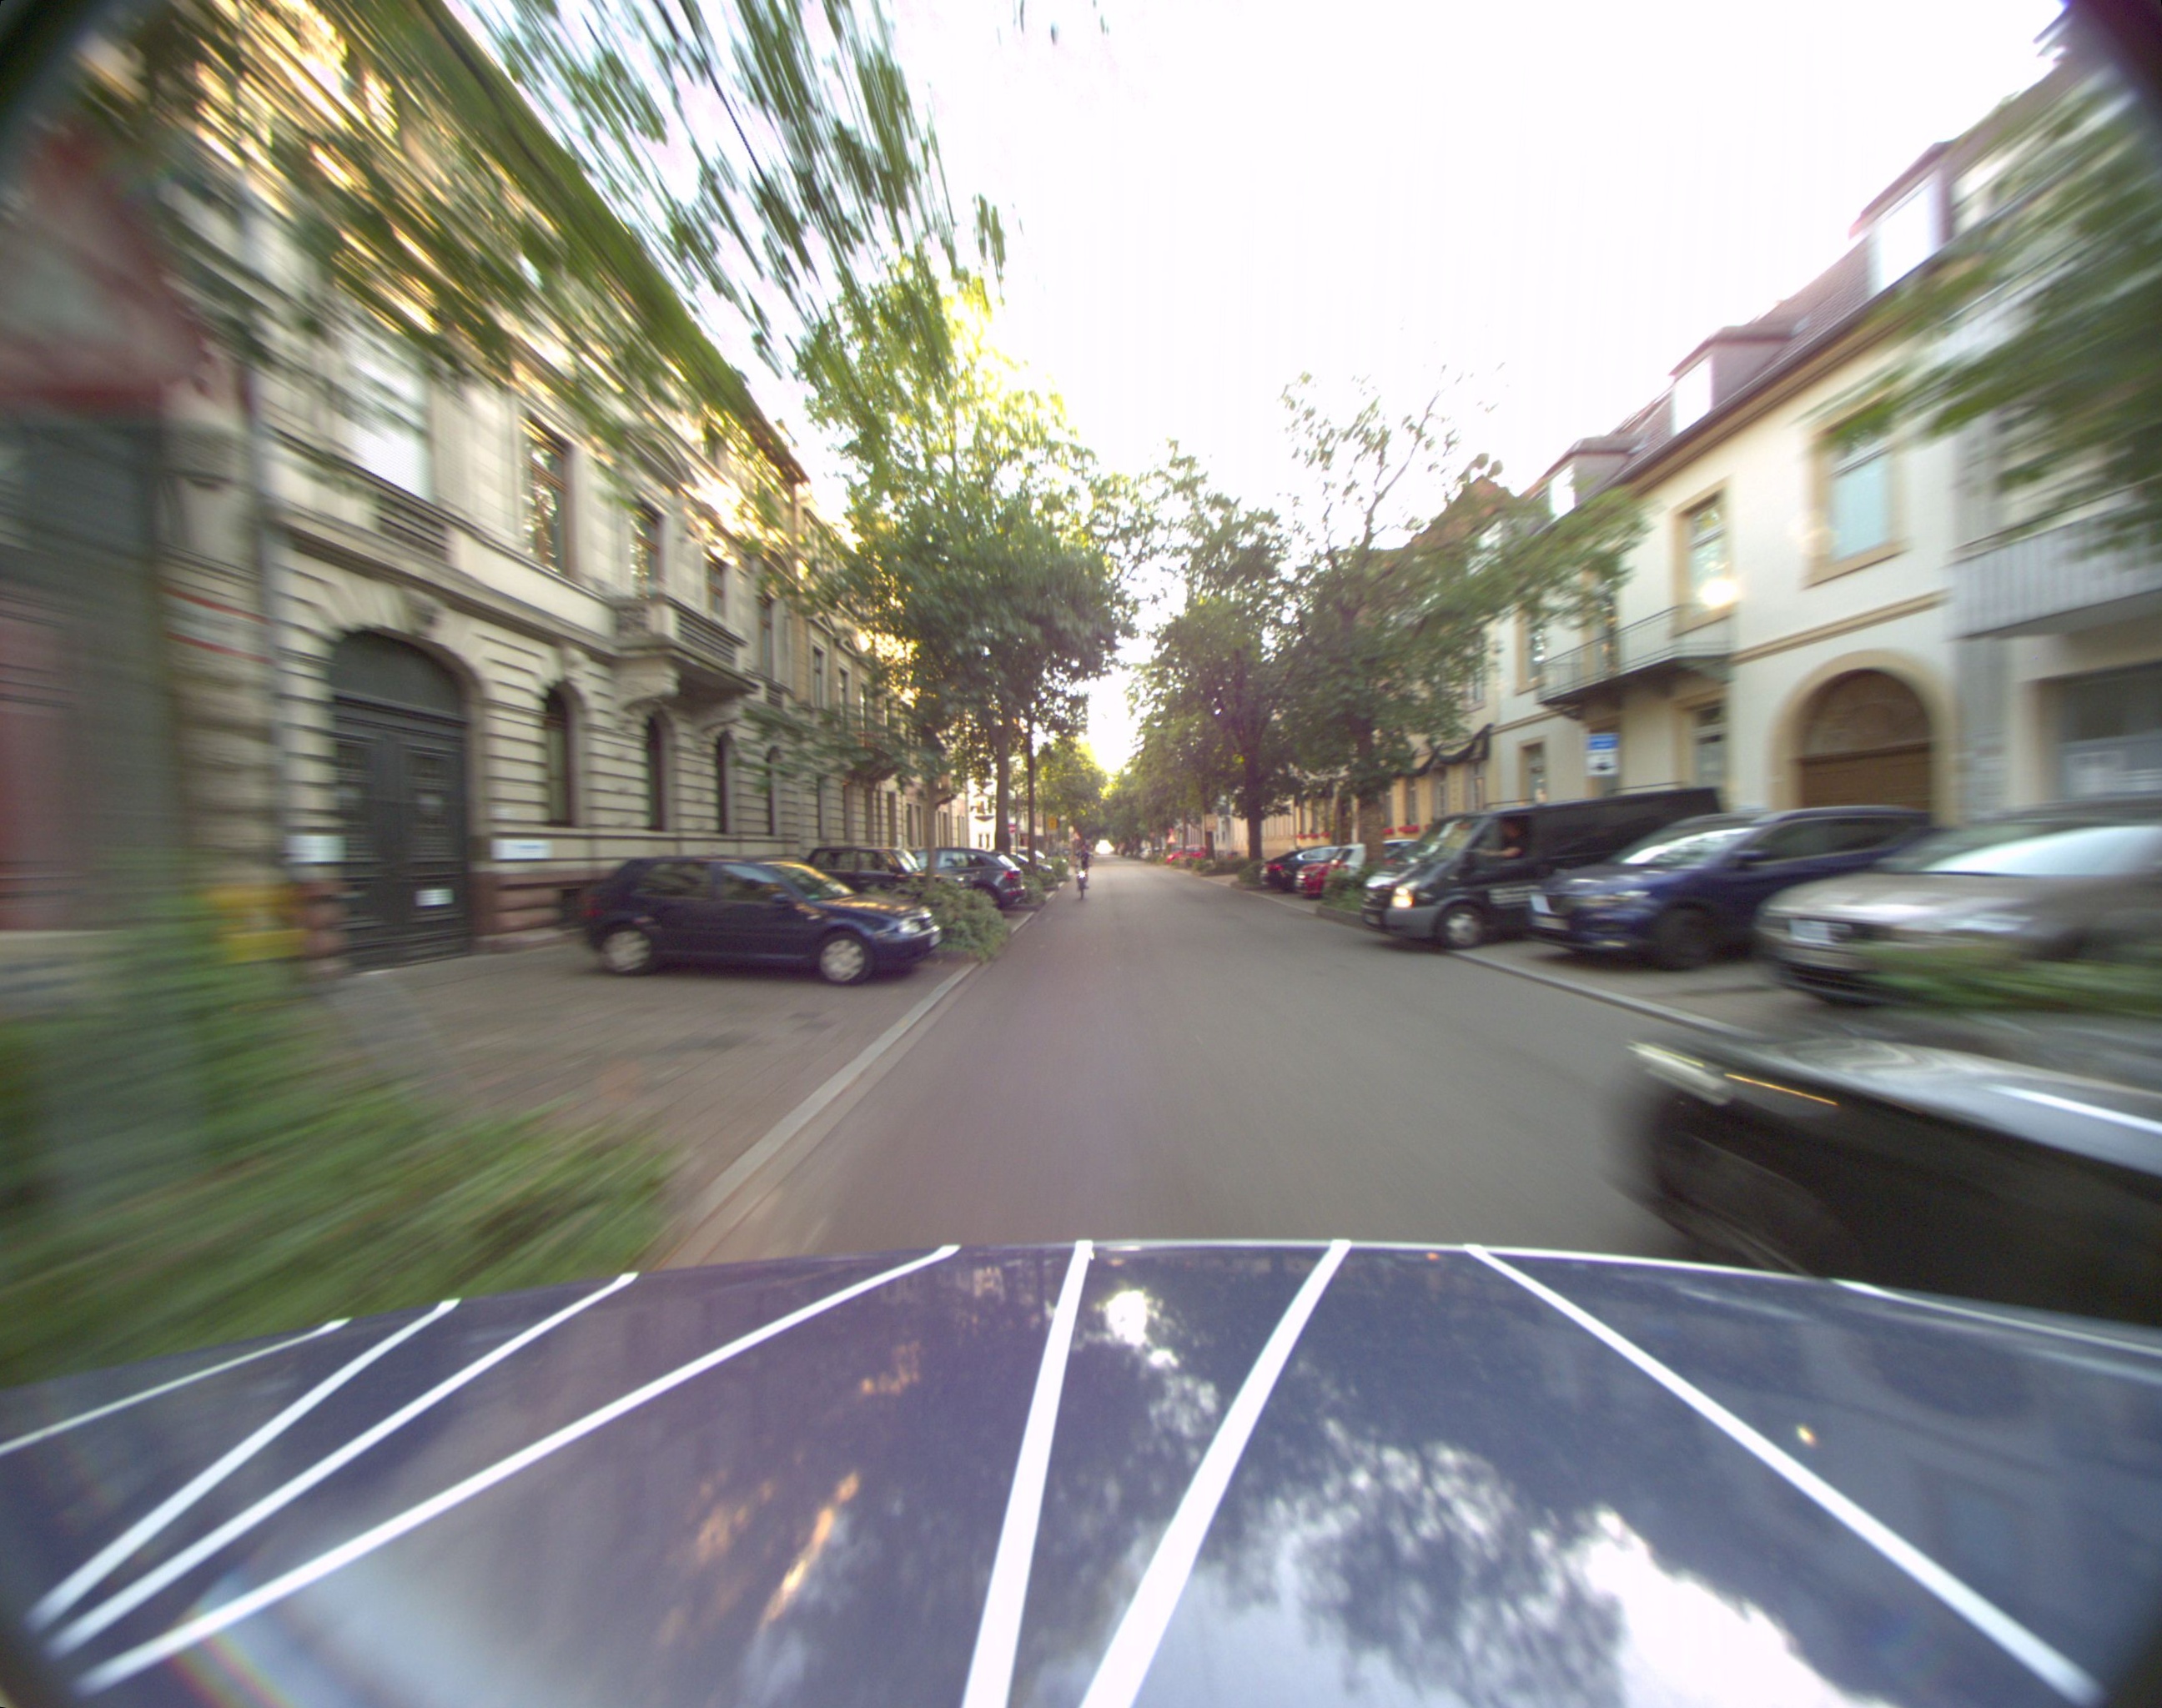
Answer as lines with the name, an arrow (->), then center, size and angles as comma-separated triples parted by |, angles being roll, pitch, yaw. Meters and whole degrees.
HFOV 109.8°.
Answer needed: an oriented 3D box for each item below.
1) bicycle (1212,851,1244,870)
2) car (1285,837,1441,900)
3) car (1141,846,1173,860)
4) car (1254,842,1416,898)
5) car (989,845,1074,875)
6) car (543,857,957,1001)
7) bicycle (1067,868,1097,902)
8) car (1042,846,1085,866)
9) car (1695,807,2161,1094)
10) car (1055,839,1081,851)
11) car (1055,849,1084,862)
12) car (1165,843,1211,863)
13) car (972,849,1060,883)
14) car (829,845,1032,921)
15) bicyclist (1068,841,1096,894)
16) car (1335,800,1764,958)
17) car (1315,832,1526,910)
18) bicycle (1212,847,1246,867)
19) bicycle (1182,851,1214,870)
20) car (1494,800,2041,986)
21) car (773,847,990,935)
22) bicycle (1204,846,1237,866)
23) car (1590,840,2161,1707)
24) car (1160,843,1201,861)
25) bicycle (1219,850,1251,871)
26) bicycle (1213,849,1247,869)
bicycle -> 9.224, 0.425, 47.786 | 1.869, 1.093, 0.480 | -3, 2, -5
car -> 7.835, 0.376, 21.315 | 3.693, 1.441, 1.659 | -4, 1, 2
car -> 8.951, -0.125, 89.574 | 3.551, 1.411, 1.590 | -4, 1, 2
car -> 7.872, 0.467, 23.777 | 4.436, 1.399, 1.717 | -4, 2, -2
car -> -2.742, 0.313, 42.420 | 4.420, 1.552, 1.867 | 2, 0, 9
car -> -3.805, 0.825, 9.280 | 4.234, 1.472, 1.854 | 1, 1, 1
bicycle -> 0.046, 0.985, 24.434 | 0.778, 0.967, 2.025 | -2, 1, 4
car -> -1.772, 0.179, 76.926 | 4.166, 1.666, 1.590 | -4, 1, 2
car -> 7.406, 0.543, 5.605 | 4.164, 1.582, 1.823 | -4, 1, 2
car -> -1.791, -1.219, 106.456 | 3.551, 1.411, 1.590 | -4, 1, 2
car -> -1.446, 0.130, 98.212 | 3.551, 1.411, 1.590 | -4, 1, 2
car -> 8.751, -0.061, 62.409 | 3.497, 1.397, 1.673 | -4, 1, -1
car -> -2.942, 0.549, 35.078 | 3.875, 1.419, 1.781 | 1, 0, 0
car -> -3.501, 0.659, 18.337 | 4.450, 1.708, 1.968 | 0, 2, 1
bicyclist -> 0.037, 0.415, 24.453 | 0.753, 1.612, 1.147 | -2, 1, 4
car -> 6.676, 0.335, 11.335 | 5.002, 1.979, 2.189 | -2, 1, 1
car -> 8.270, 0.384, 18.796 | 4.365, 1.530, 1.771 | -4, 2, 2
bicycle -> 8.747, 0.188, 45.012 | 1.869, 1.093, 0.480 | -3, 2, -5
bicycle -> 7.322, 0.404, 47.489 | 1.869, 1.092, 0.480 | -3, 2, -5
car -> 7.463, 0.388, 8.662 | 4.365, 1.564, 1.930 | -4, 1, 2
car -> -4.052, 0.728, 15.875 | 4.017, 1.677, 1.765 | -1, 0, 1
bicycle -> 8.595, 0.114, 46.914 | 1.869, 1.093, 0.480 | -3, 2, -5
car -> 2.679, 0.809, 0.295 | 1.881, 1.631, 4.645 | -1, 1, 0
car -> 9.282, -0.212, 71.152 | 3.552, 1.411, 1.590 | -4, 1, -1
bicycle -> 8.830, 0.352, 43.577 | 1.711, 1.093, 0.480 | -3, 2, -5
bicycle -> 8.973, 0.279, 45.719 | 1.869, 1.093, 0.509 | -3, 2, -5
